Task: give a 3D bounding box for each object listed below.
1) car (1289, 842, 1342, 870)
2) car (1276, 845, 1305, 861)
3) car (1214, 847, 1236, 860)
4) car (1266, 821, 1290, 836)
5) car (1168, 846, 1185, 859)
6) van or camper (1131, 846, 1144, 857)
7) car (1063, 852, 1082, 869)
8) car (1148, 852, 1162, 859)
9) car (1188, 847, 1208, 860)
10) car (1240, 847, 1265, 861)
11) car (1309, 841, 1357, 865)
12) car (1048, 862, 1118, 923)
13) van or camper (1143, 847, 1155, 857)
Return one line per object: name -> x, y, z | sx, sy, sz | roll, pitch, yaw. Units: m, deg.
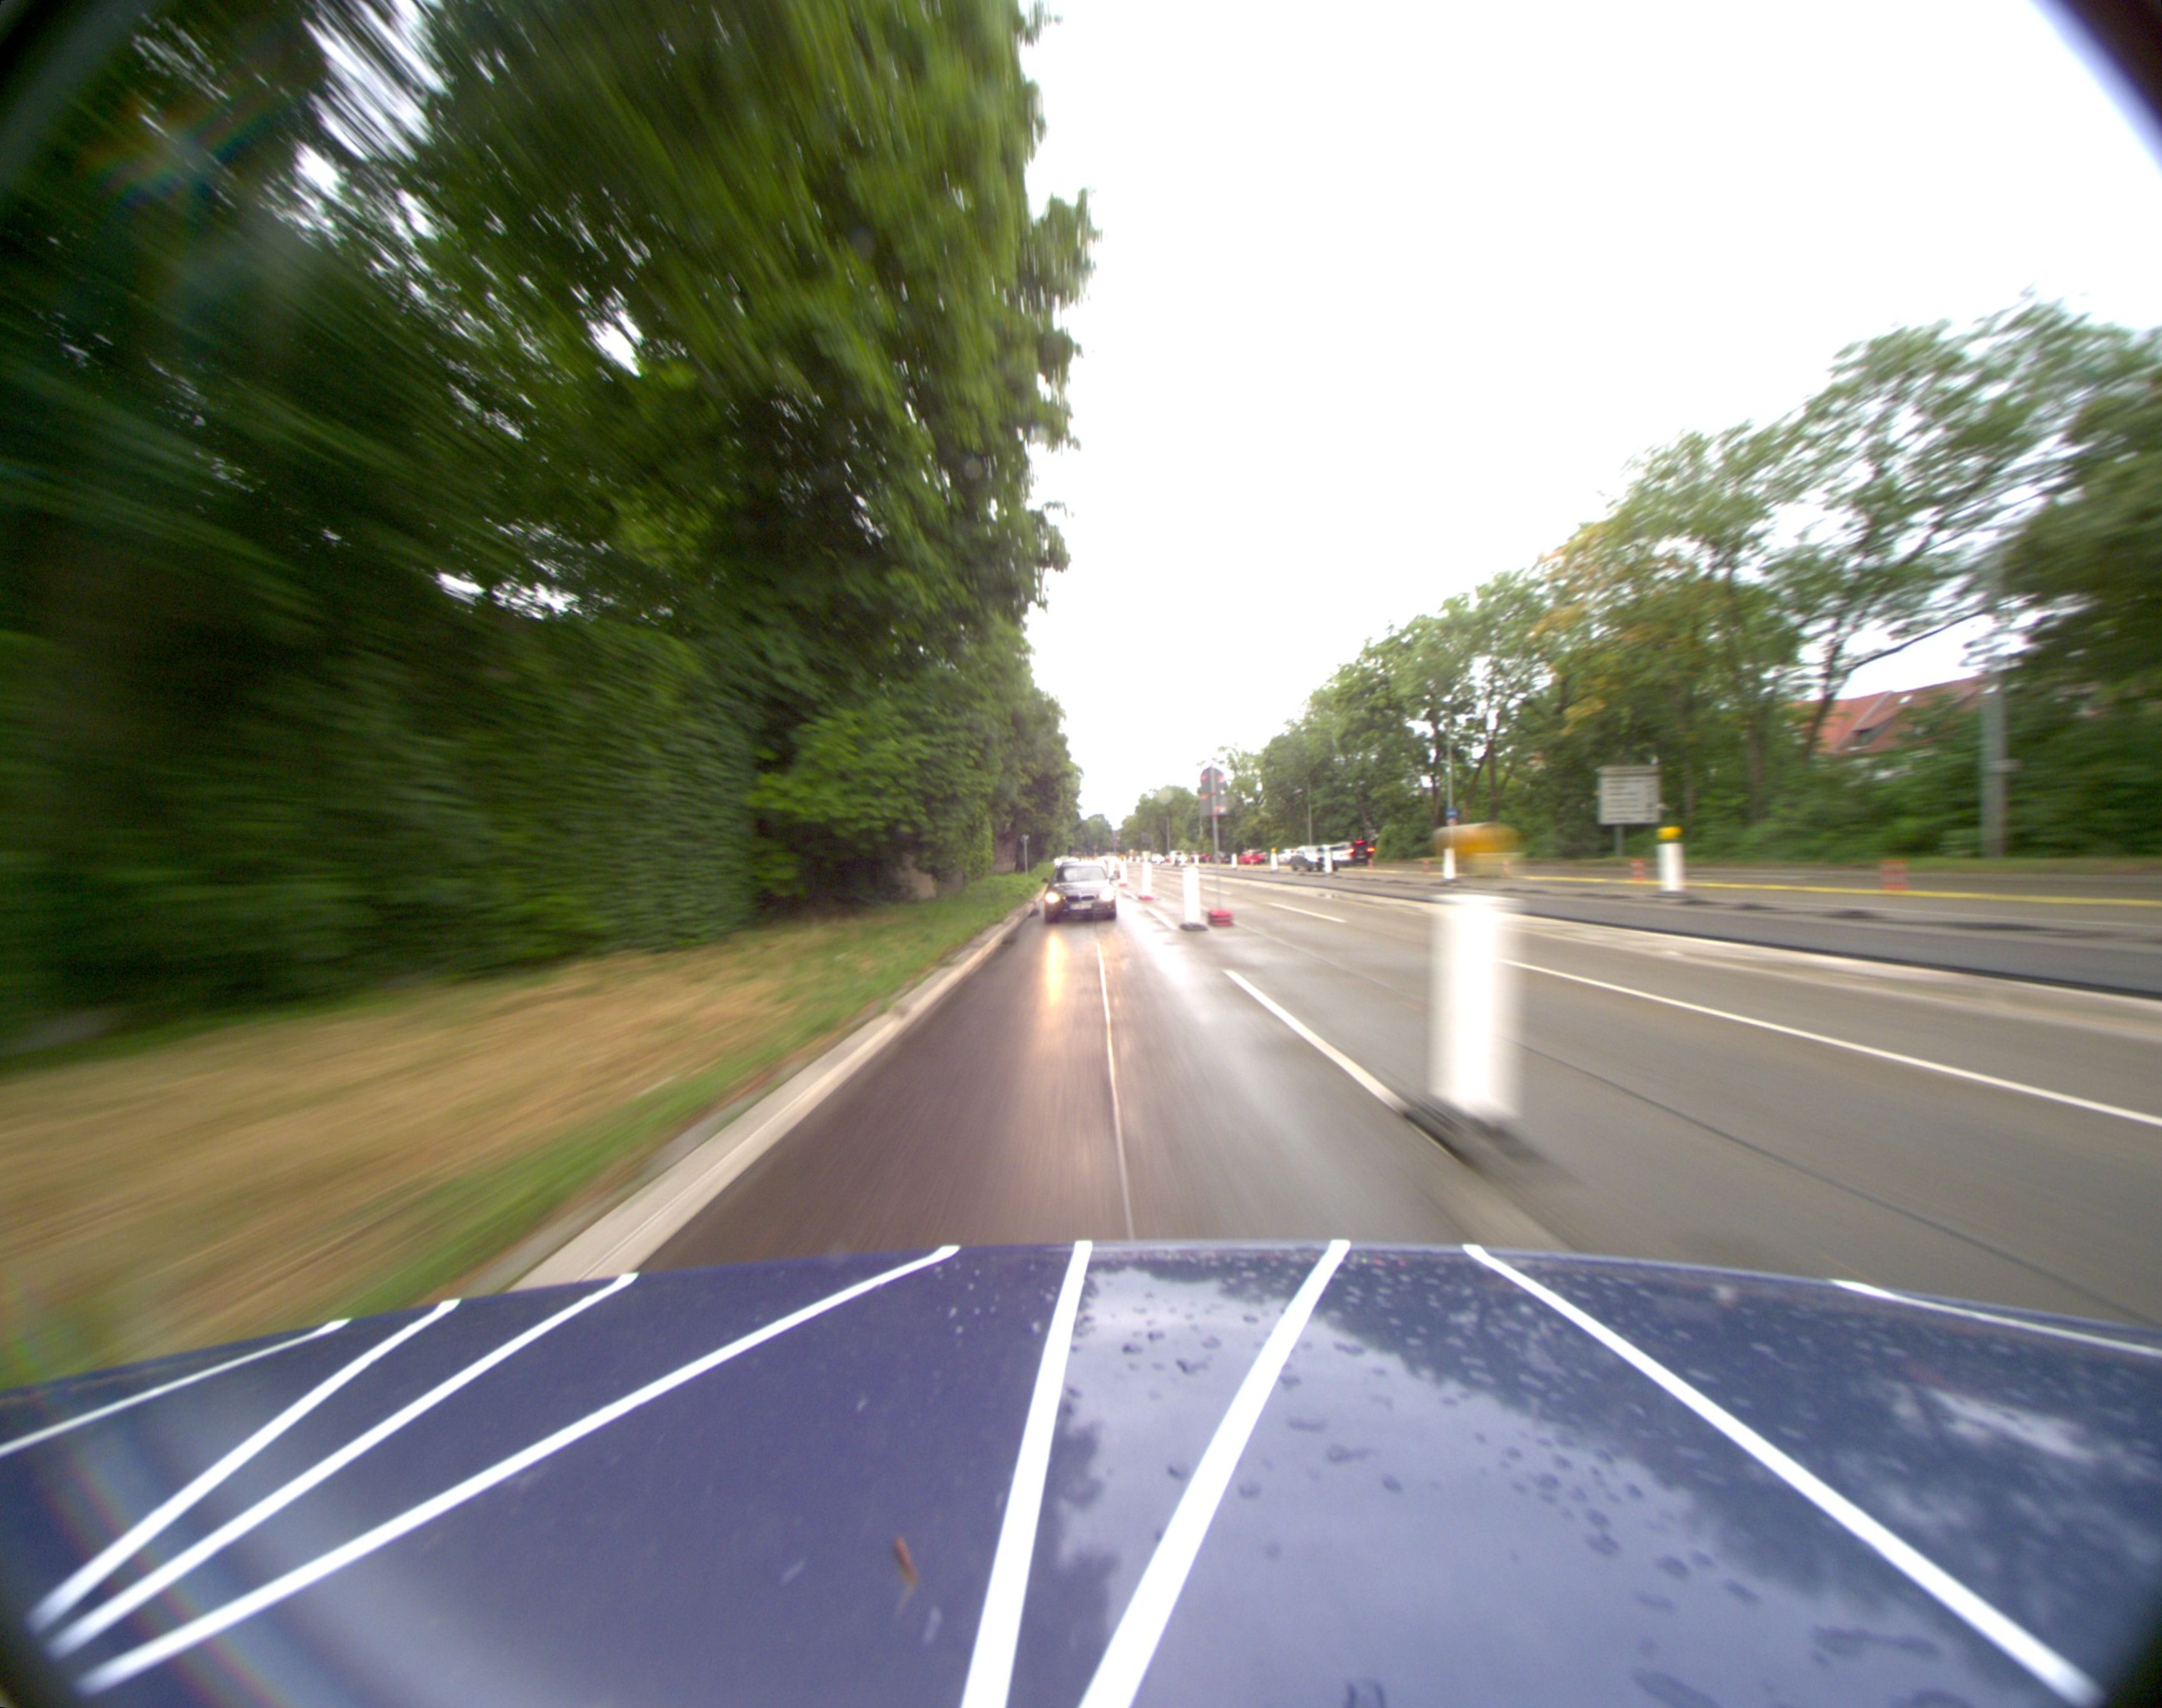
car -> 15.285, 0.108, 49.826 | 1.998, 1.619, 4.812 | -2, 0, 1
car -> 20.723, -0.083, 75.161 | 1.683, 1.487, 4.148 | -1, 0, 0
car -> 17.620, -0.079, 92.864 | 1.781, 1.479, 4.196 | -2, 0, -1
car -> 24.345, -3.138, 93.995 | 1.707, 1.617, 4.418 | -3, 0, -1
car -> 15.853, -0.228, 126.191 | 1.999, 1.960, 4.901 | -3, 0, -3
van or camper -> 16.439, -0.803, 221.829 | 2.304, 3.044, 7.448 | -2, 0, -6
car -> -0.890, 0.658, 82.337 | 1.998, 1.707, 4.000 | -1, 0, 0
car -> 14.637, 0.240, 150.271 | 1.999, 1.407, 4.391 | -1, 0, -5
car -> 16.807, -0.125, 109.632 | 2.026, 1.715, 5.012 | -3, 0, 0
car -> 17.945, 0.012, 79.694 | 1.683, 1.392, 4.012 | -3, 0, 0
car -> 18.698, -0.058, 56.588 | 1.895, 1.651, 4.893 | -3, 0, -1
car -> -0.034, 0.941, 20.153 | 1.658, 1.409, 4.128 | 0, 0, -2
van or camper -> 17.055, -0.473, 190.844 | 1.999, 2.540, 7.728 | -3, 0, -1
